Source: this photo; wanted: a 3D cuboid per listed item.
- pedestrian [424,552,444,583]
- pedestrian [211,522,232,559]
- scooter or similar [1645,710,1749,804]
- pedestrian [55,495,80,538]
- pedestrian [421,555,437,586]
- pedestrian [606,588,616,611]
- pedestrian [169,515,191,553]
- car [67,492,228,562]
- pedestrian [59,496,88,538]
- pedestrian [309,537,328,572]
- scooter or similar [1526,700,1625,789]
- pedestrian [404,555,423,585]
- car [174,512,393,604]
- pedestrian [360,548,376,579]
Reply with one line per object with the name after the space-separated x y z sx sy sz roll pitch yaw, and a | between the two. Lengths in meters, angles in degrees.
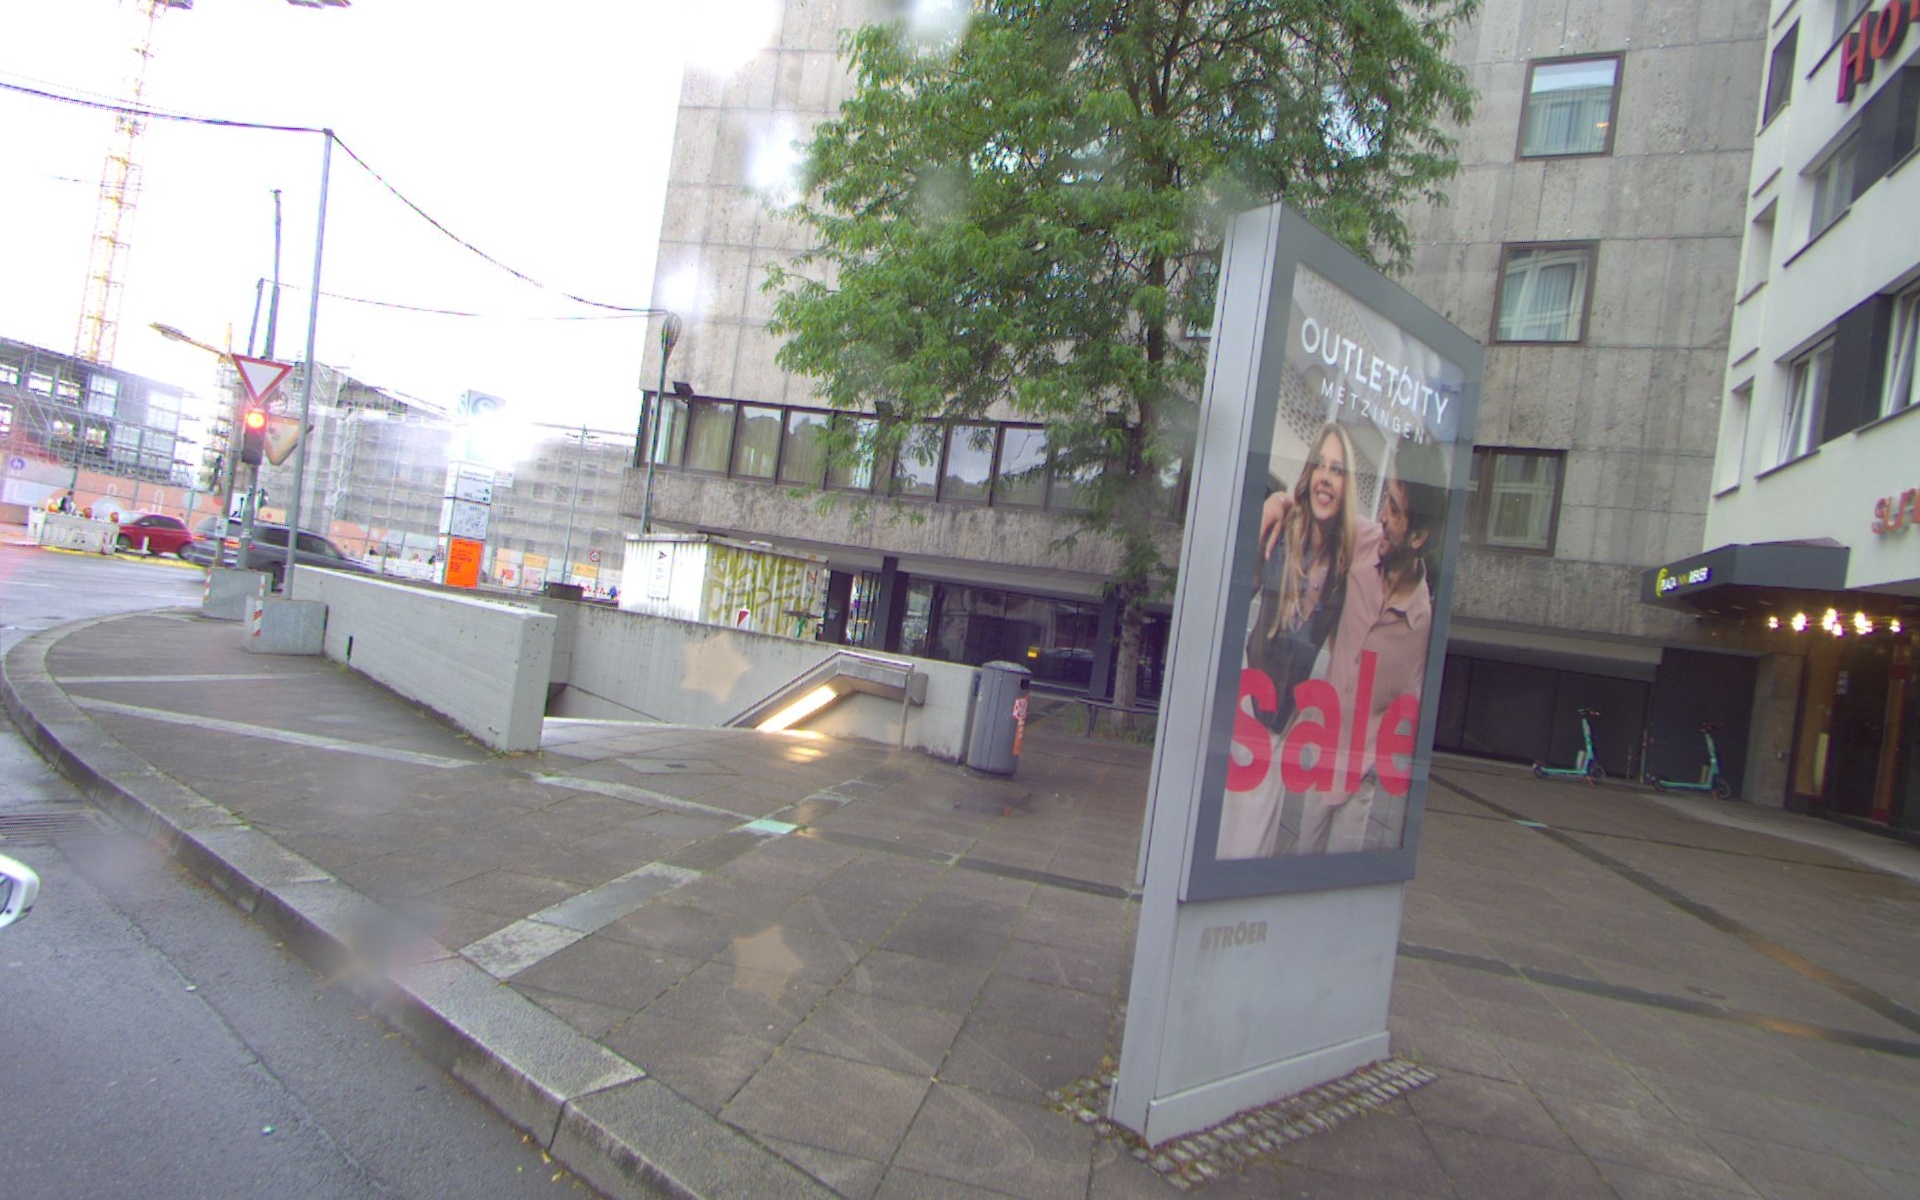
-35.507 -2.187 67.924 0.555 1.919 0.801 7 -2 17 | pedestrian
-40.440 -3.249 55.080 0.355 1.919 0.577 7 -2 21 | pedestrian
12.344 2.612 16.880 1.208 1.352 0.520 7 -2 19 | scooter or similar
-42.035 -3.948 47.380 0.355 1.919 0.577 7 -2 21 | pedestrian
-34.814 -1.923 65.951 0.355 1.919 0.577 7 -2 21 | pedestrian
-30.179 -0.079 86.983 0.355 1.919 0.577 7 -2 21 | pedestrian
-40.902 -3.456 52.735 0.355 1.919 0.577 7 -2 21 | pedestrian
-29.329 -2.588 36.498 1.962 1.727 4.008 7 -3 14 | car
-43.742 -4.084 49.634 0.620 1.922 0.659 7 -2 18 | pedestrian
-36.822 -2.596 57.753 0.355 1.919 0.577 7 -2 21 | pedestrian
10.326 2.408 16.916 1.208 1.269 0.565 7 0 19 | scooter or similar
-37.420 -2.070 68.880 0.579 1.919 0.633 7 -2 16 | pedestrian
-19.347 -1.112 29.123 1.962 1.817 5.112 7 -3 14 | car
-38.393 -2.344 65.239 0.355 1.919 0.577 7 -2 16 | pedestrian
